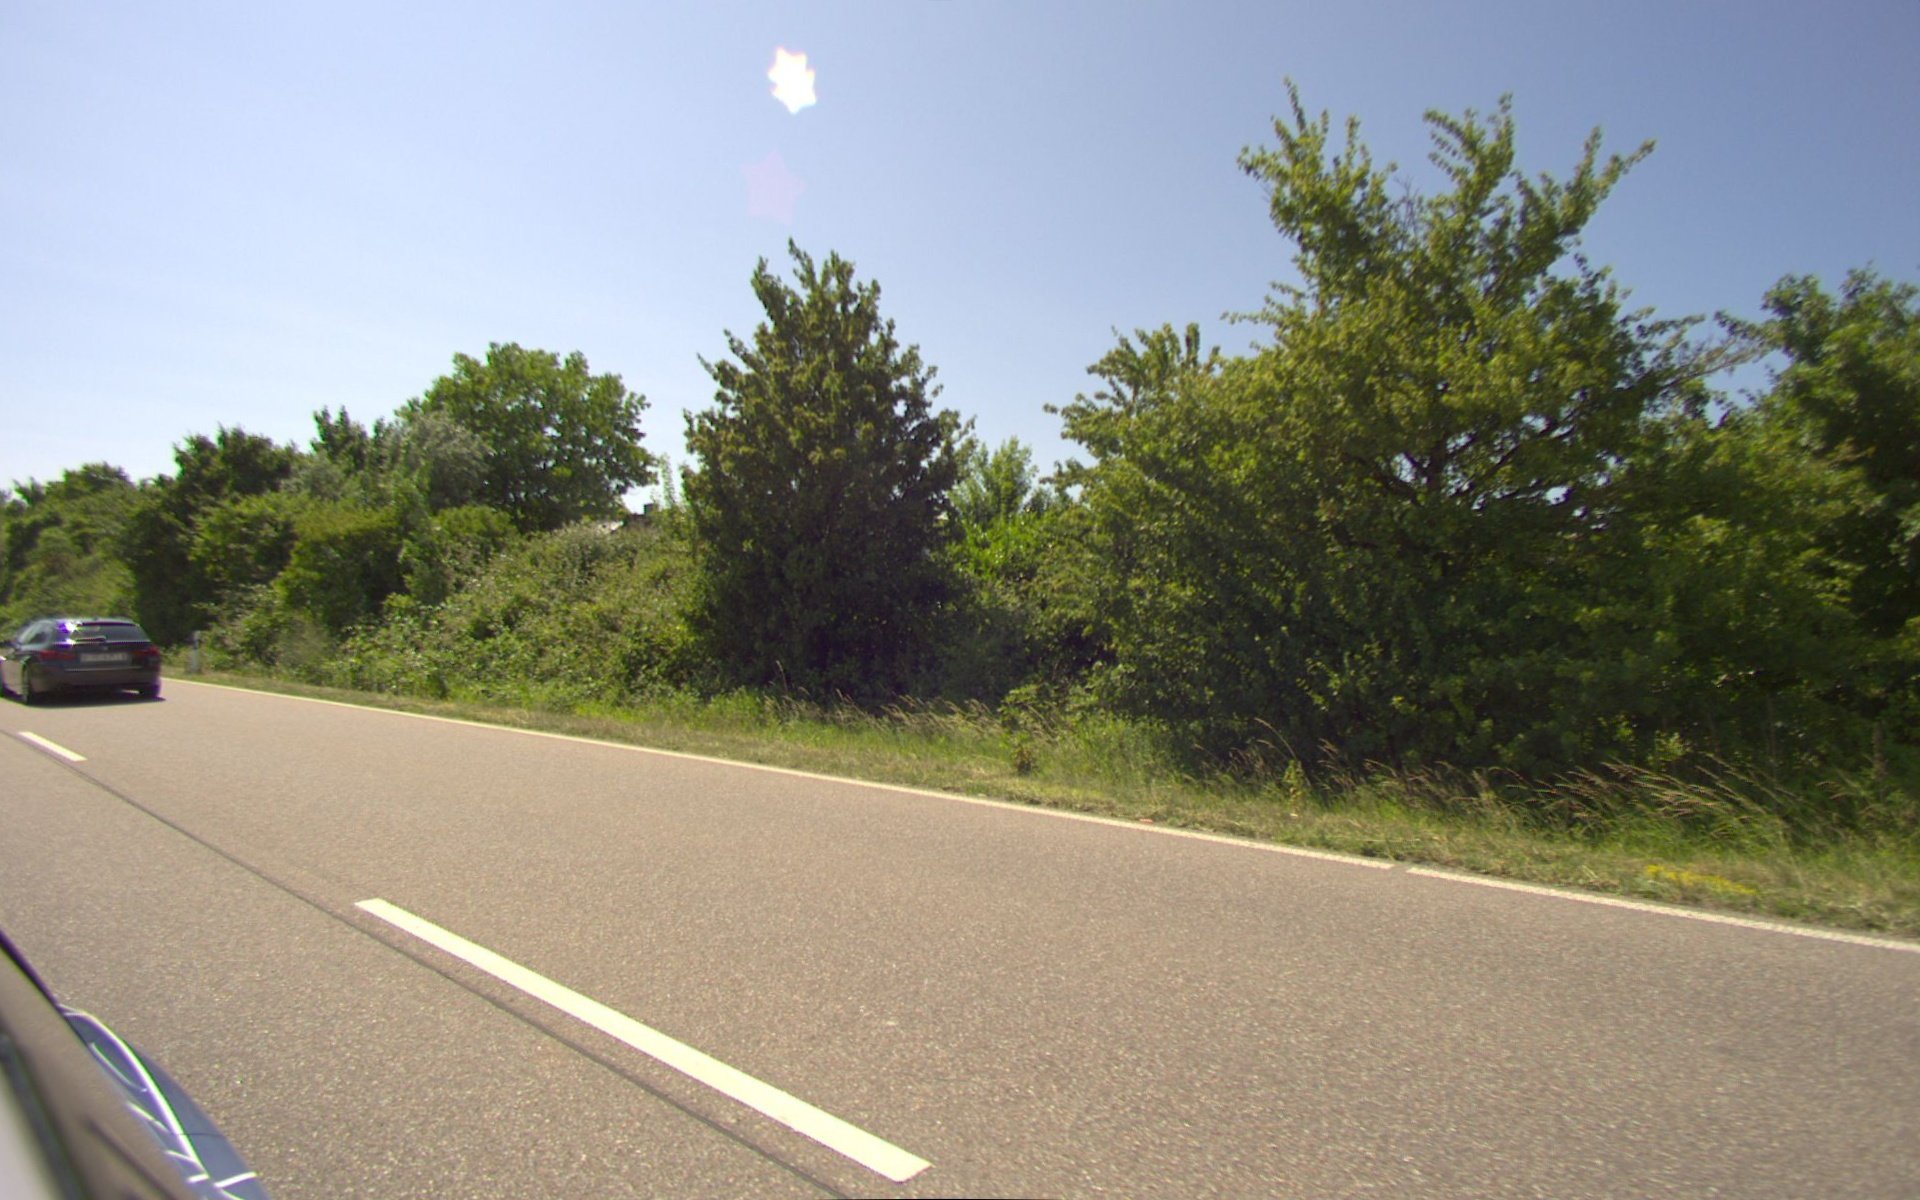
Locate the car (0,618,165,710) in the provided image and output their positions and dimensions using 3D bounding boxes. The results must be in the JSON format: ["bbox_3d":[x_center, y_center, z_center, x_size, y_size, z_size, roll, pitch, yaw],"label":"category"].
[{"bbox_3d":[-16.188,1.078,18.433,4.529,1.461,1.782,-1,-1,40],"label":"car"}]
